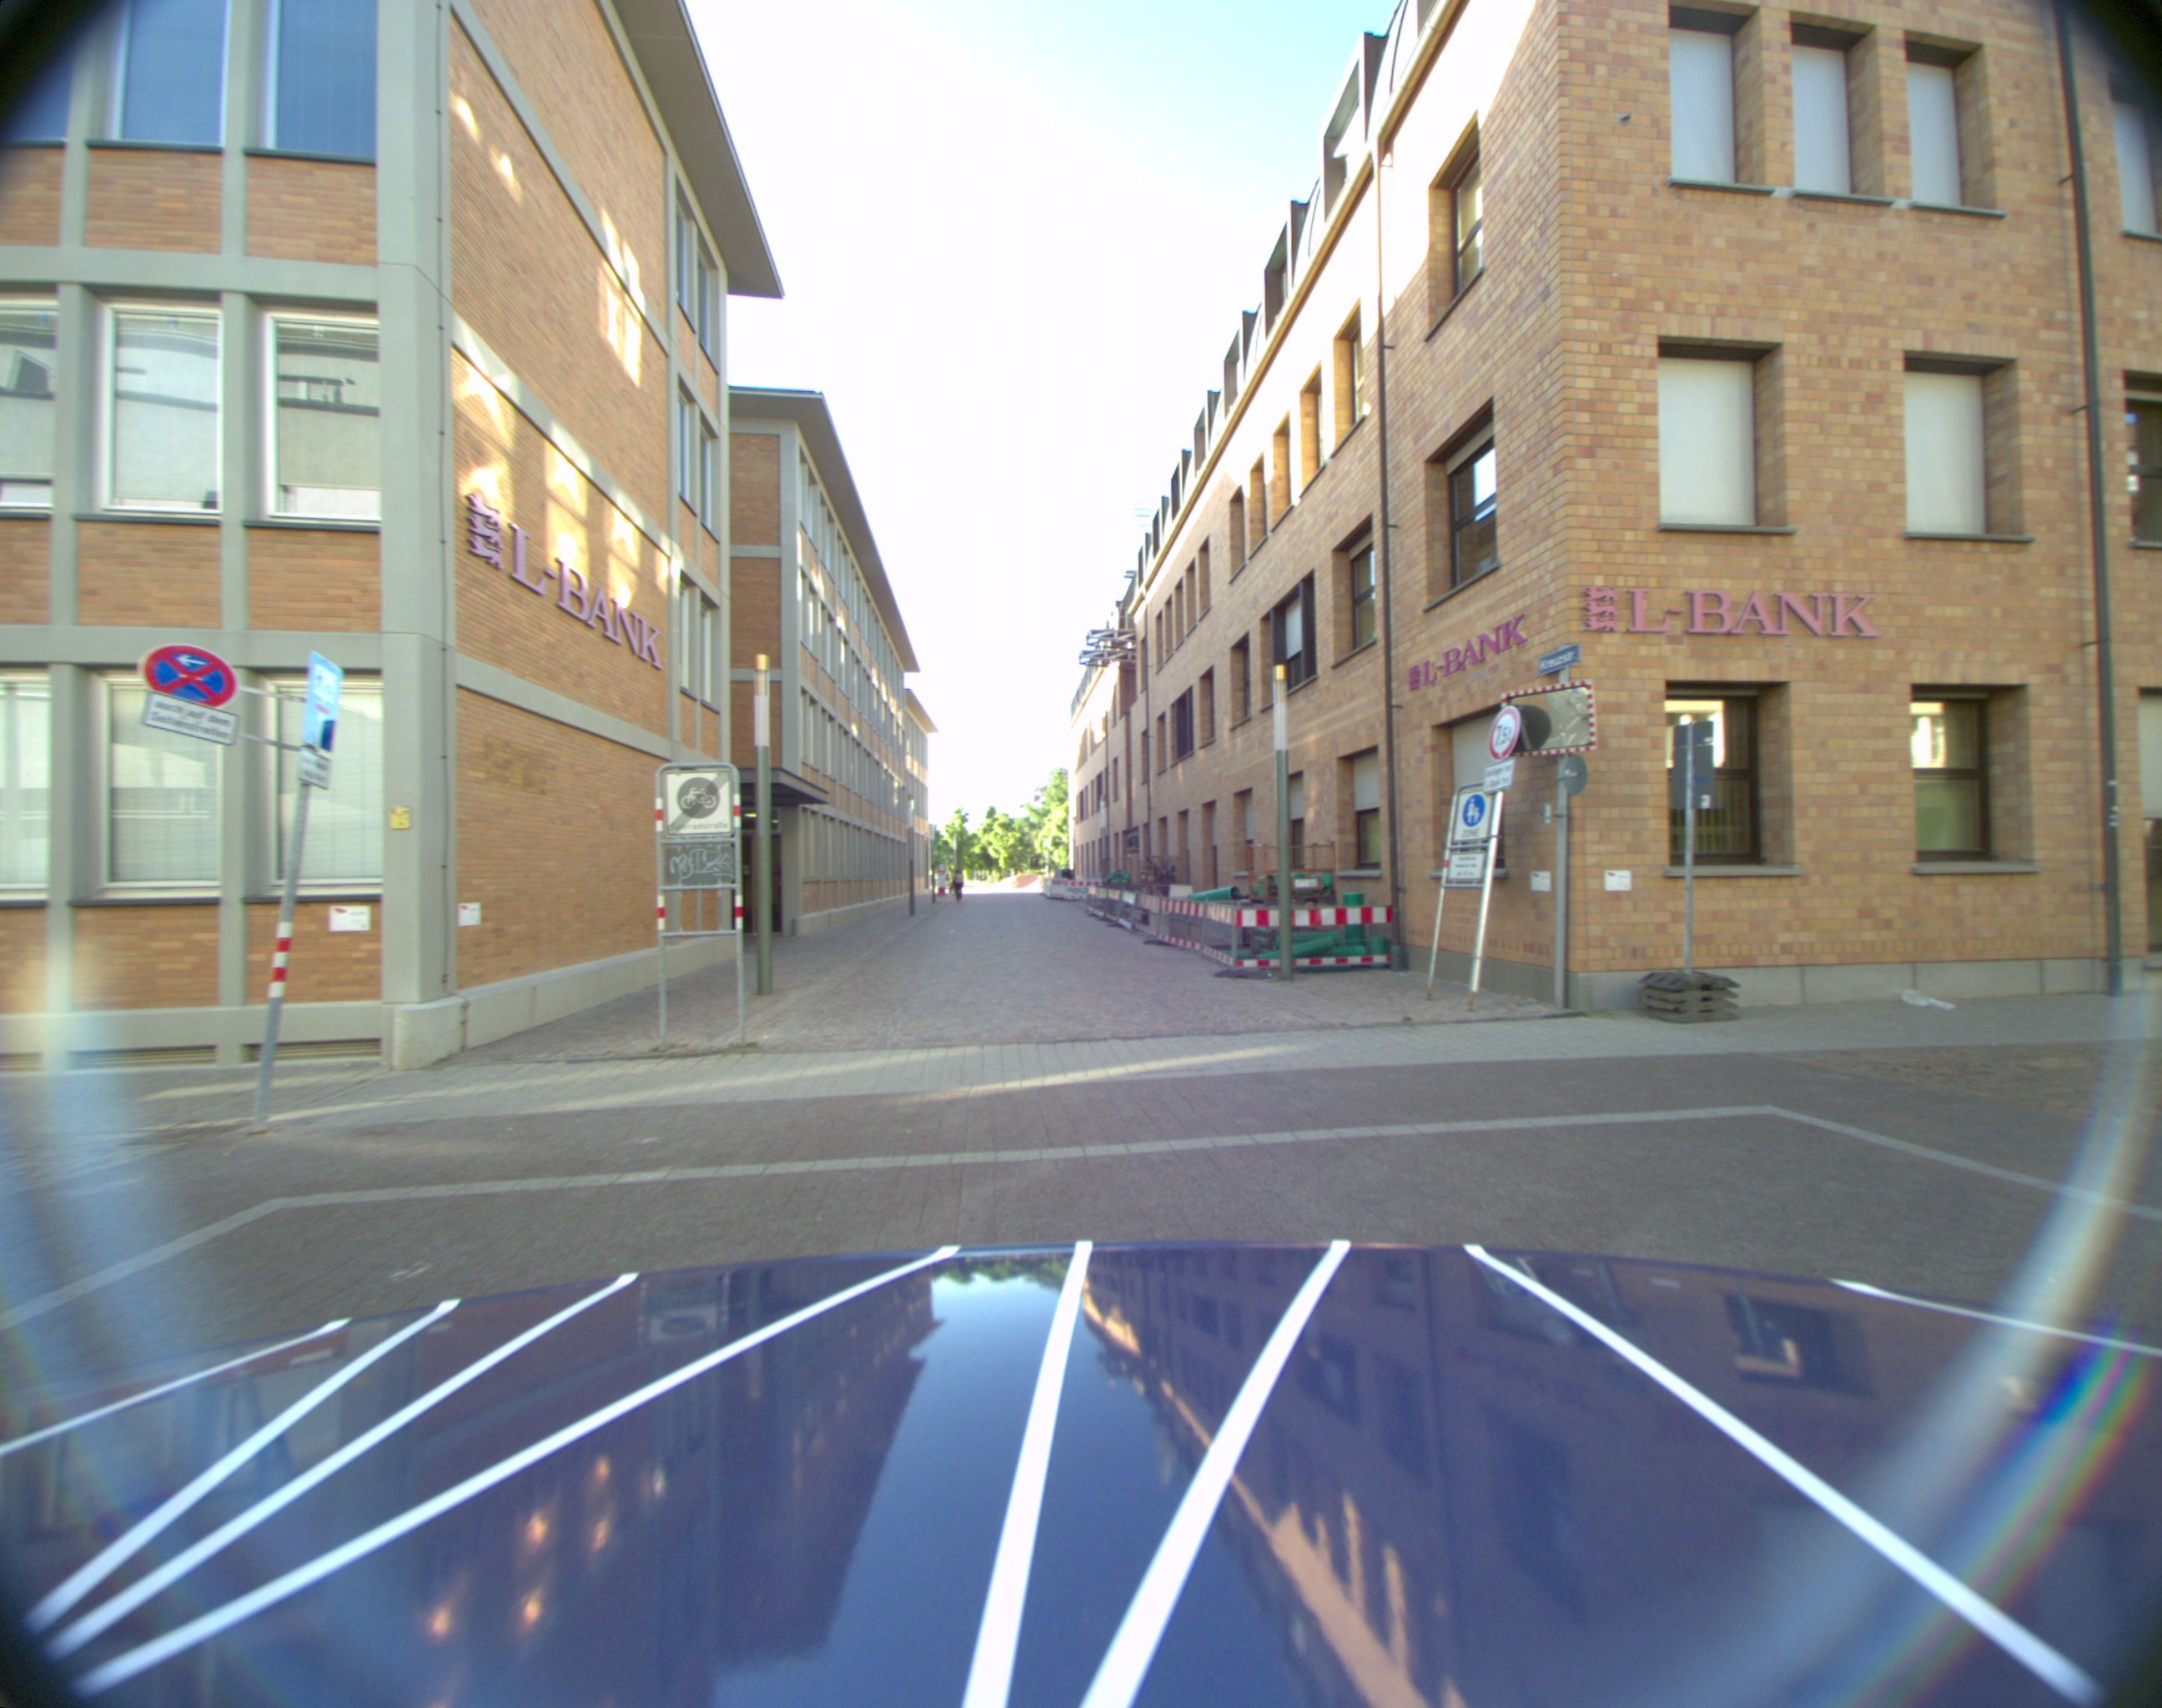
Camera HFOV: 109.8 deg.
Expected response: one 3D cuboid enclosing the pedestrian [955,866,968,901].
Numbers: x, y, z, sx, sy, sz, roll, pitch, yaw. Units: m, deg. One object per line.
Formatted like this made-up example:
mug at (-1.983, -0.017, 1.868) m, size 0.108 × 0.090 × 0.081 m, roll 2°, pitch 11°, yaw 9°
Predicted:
pedestrian at (-6.100, 1.498, 38.832) m, size 0.638 × 1.774 × 0.652 m, roll -1°, pitch -3°, yaw -7°
